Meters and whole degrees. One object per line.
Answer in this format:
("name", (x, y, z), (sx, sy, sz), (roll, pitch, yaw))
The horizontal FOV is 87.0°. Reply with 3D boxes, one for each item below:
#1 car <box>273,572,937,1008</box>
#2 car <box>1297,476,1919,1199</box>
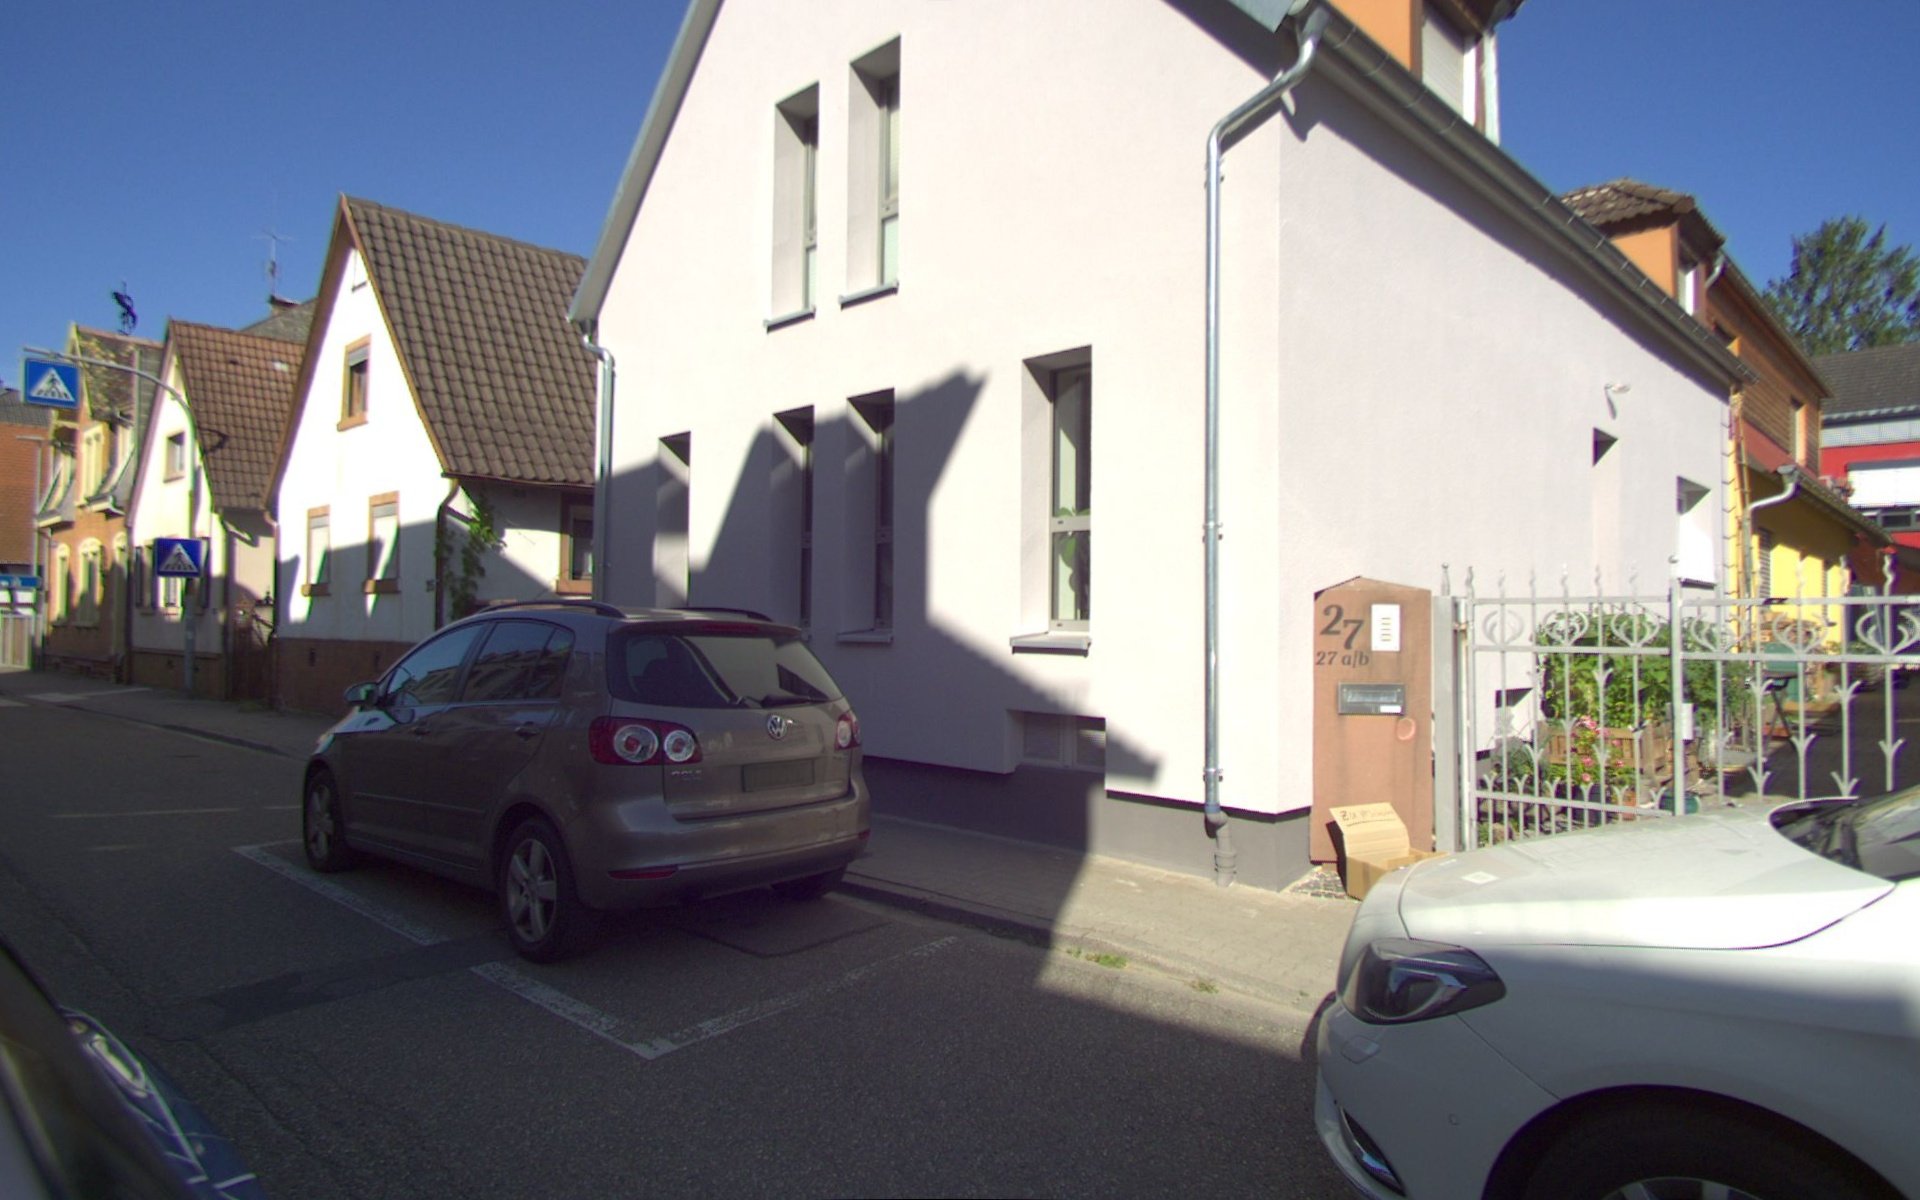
("car", (-2.204, 0.749, 5.743), (3.996, 1.626, 1.725), (-1, -2, 40))
("car", (2.845, 0.617, 1.406), (4.167, 1.579, 1.797), (-1, -2, 42))
